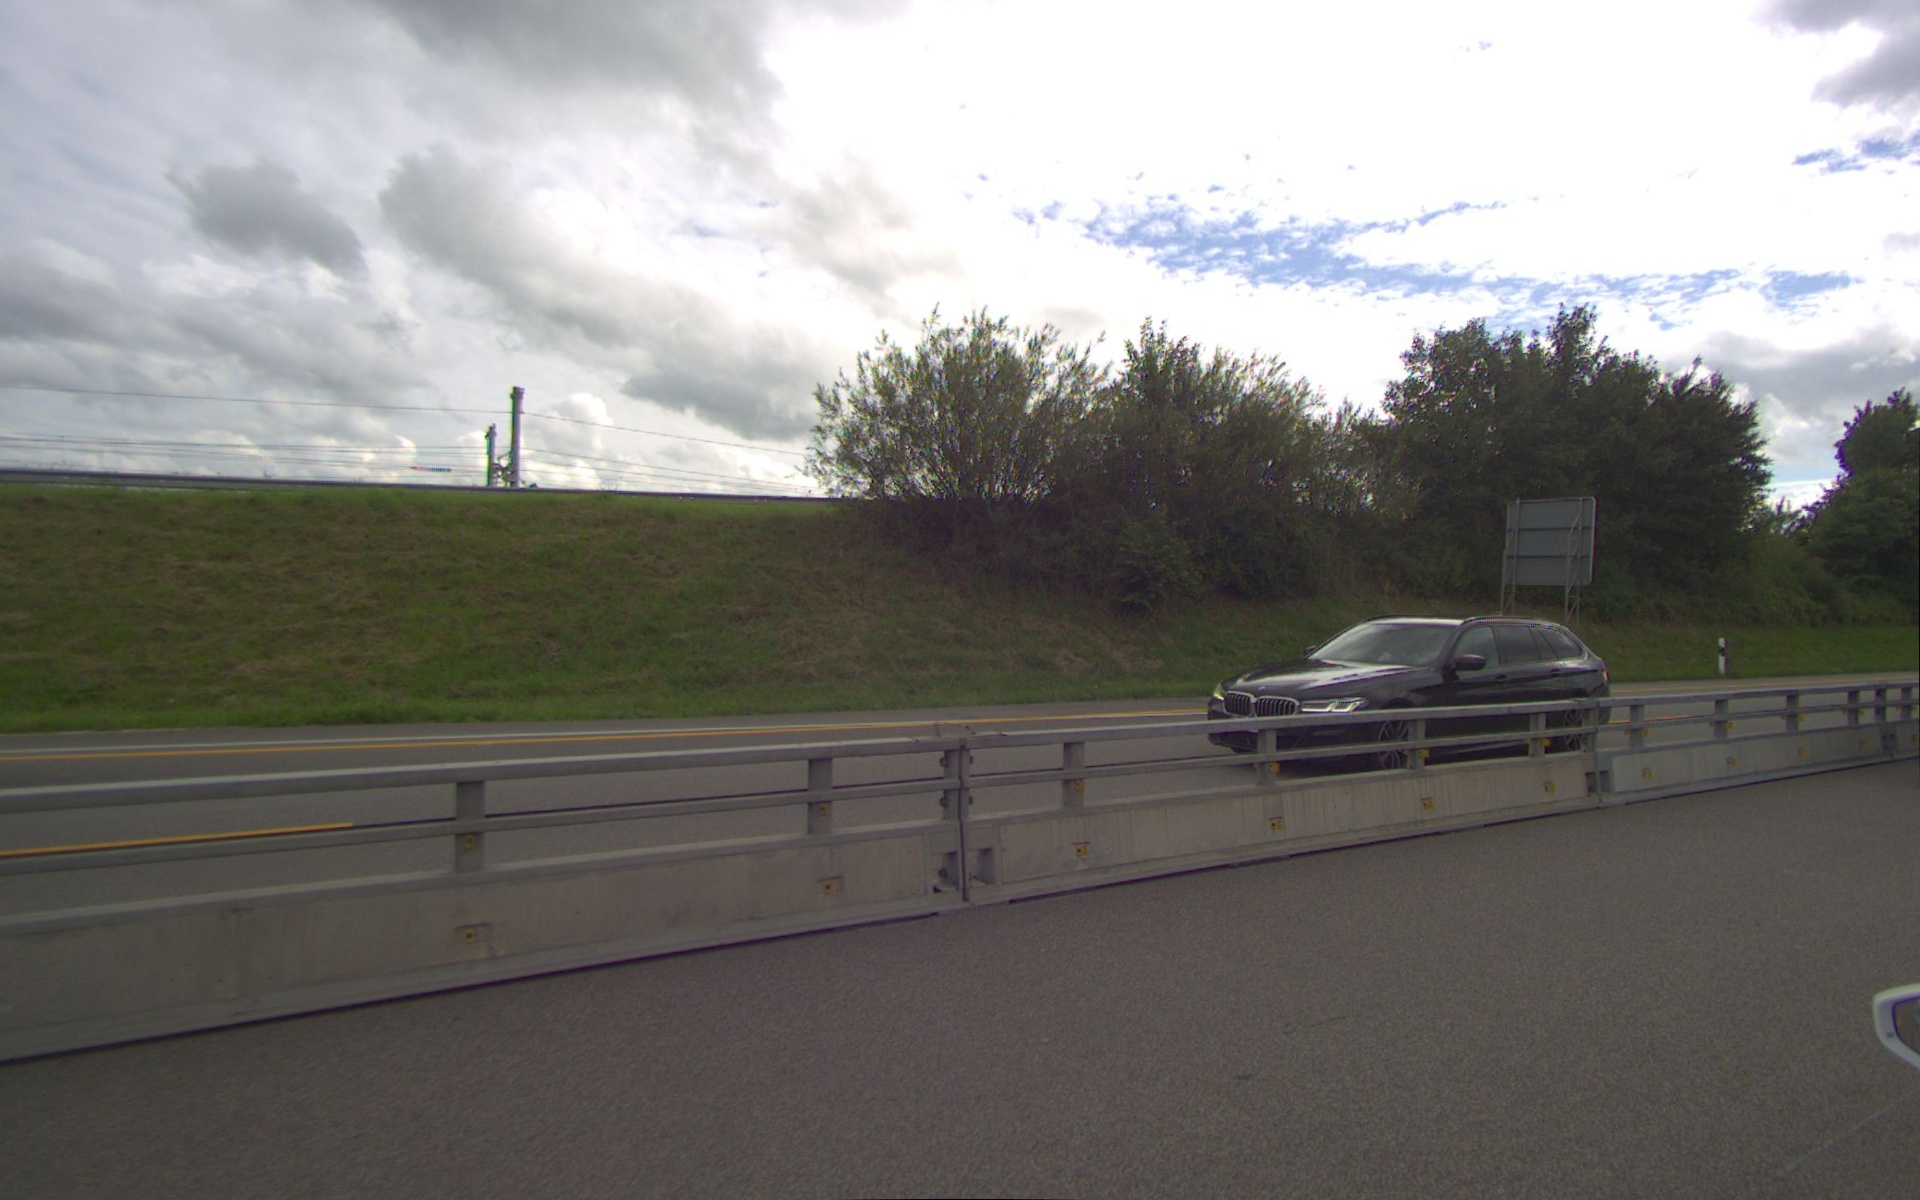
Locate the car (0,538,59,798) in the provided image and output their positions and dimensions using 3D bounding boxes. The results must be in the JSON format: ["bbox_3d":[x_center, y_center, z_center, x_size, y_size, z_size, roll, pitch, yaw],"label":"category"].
[{"bbox_3d":[-9.013,0.435,6.143,4.877,1.815,1.983,1,0,-31],"label":"car"}]

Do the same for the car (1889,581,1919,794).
[{"bbox_3d":[11.194,0.819,9.539,5.544,1.867,1.984,1,-1,-31],"label":"car"}]

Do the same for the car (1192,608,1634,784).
[{"bbox_3d":[4.778,0.853,10.454,4.534,1.488,1.927,1,-1,-30],"label":"car"}]
